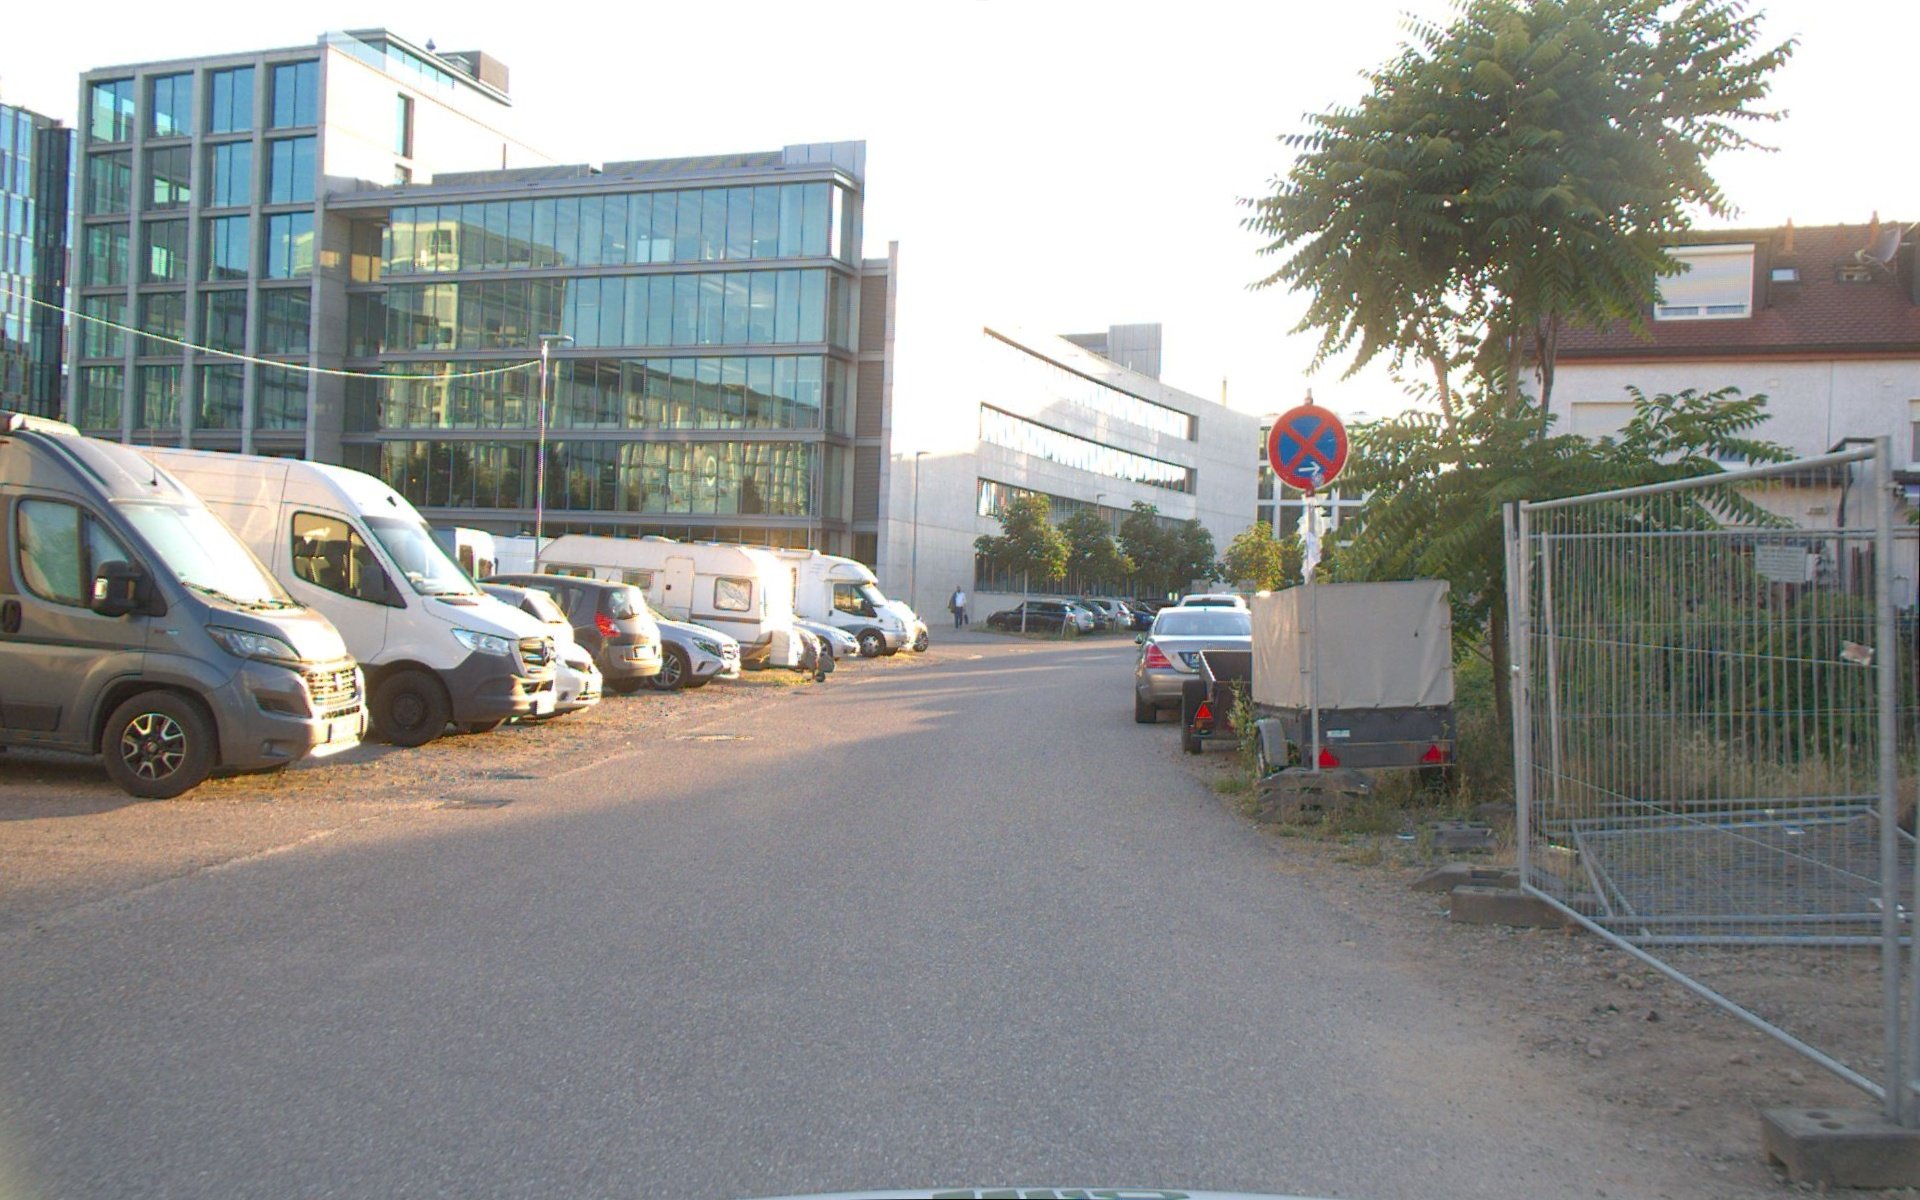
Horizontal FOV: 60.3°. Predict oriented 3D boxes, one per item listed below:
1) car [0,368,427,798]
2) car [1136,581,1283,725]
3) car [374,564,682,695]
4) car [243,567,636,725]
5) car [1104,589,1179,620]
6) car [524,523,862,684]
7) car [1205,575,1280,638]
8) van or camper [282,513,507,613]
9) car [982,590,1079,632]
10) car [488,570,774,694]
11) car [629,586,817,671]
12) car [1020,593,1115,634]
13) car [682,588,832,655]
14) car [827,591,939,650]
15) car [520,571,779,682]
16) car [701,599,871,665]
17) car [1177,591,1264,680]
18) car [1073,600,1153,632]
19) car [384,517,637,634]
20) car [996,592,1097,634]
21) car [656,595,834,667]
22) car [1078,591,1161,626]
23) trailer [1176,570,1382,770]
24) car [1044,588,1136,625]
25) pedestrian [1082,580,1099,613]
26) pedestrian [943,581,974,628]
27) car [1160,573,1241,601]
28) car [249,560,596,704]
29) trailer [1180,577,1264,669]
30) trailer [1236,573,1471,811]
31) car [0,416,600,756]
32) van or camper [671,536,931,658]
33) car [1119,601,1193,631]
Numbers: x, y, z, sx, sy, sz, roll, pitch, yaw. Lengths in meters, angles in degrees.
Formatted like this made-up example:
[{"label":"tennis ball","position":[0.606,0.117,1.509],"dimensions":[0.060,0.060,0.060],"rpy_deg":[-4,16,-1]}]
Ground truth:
[{"label":"car","position":[-7.496,-0.242,12.184],"dimensions":[6.261,2.760,2.112],"rpy_deg":[4,-1,-3]},{"label":"car","position":[3.300,0.642,22.622],"dimensions":[1.767,1.755,4.931],"rpy_deg":[0,0,6]},{"label":"car","position":[-6.166,0.396,23.773],"dimensions":[3.842,1.618,1.749],"rpy_deg":[3,0,13]},{"label":"car","position":[-5.880,0.500,18.966],"dimensions":[3.843,1.533,1.791],"rpy_deg":[3,0,5]},{"label":"car","position":[9.694,0.245,88.426],"dimensions":[3.627,1.483,1.711],"rpy_deg":[3,0,22]},{"label":"car","position":[-5.034,0.015,31.606],"dimensions":[5.763,2.577,2.414],"rpy_deg":[4,1,11]},{"label":"car","position":[10.234,0.218,59.704],"dimensions":[2.022,2.131,4.875],"rpy_deg":[1,0,17]},{"label":"van or camper","position":[-12.482,-0.801,36.573],"dimensions":[4.245,1.924,1.934],"rpy_deg":[3,0,13]},{"label":"car","position":[2.948,0.433,68.633],"dimensions":[3.656,1.507,1.771],"rpy_deg":[3,1,15]},{"label":"car","position":[-5.242,0.478,26.517],"dimensions":[4.039,1.618,1.749],"rpy_deg":[4,1,13]},{"label":"car","position":[-4.987,0.586,35.032],"dimensions":[3.552,1.545,1.707],"rpy_deg":[3,0,6]},{"label":"car","position":[4.775,0.586,73.356],"dimensions":[3.913,1.538,1.586],"rpy_deg":[3,2,15]},{"label":"car","position":[-5.257,0.534,42.998],"dimensions":[3.529,1.502,1.694],"rpy_deg":[3,0,4]},{"label":"car","position":[-2.214,0.619,48.811],"dimensions":[1.652,1.545,4.361],"rpy_deg":[3,0,20]},{"label":"car","position":[-5.431,0.453,29.197],"dimensions":[4.039,1.618,1.749],"rpy_deg":[4,0,7]},{"label":"car","position":[-4.193,0.759,40.088],"dimensions":[3.727,1.351,1.694],"rpy_deg":[3,0,8]},{"label":"car","position":[5.999,0.757,37.756],"dimensions":[1.733,1.863,4.412],"rpy_deg":[1,0,12]},{"label":"car","position":[7.448,0.765,80.414],"dimensions":[3.556,1.385,1.687],"rpy_deg":[3,1,16]},{"label":"car","position":[-11.969,-0.655,44.112],"dimensions":[6.110,2.719,2.225],"rpy_deg":[3,0,15]},{"label":"car","position":[3.767,0.560,71.457],"dimensions":[4.000,1.555,1.847],"rpy_deg":[3,1,15]},{"label":"car","position":[-4.860,0.683,37.684],"dimensions":[3.647,1.391,1.707],"rpy_deg":[3,0,6]},{"label":"car","position":[8.094,0.423,83.697],"dimensions":[3.791,1.537,1.760],"rpy_deg":[3,1,21]},{"label":"trailer","position":[3.216,0.629,17.493],"dimensions":[1.694,1.808,4.940],"rpy_deg":[0,0,6]},{"label":"car","position":[6.151,0.302,78.231],"dimensions":[3.906,1.537,1.760],"rpy_deg":[3,1,21]},{"label":"pedestrian","position":[7.184,-0.184,90.937],"dimensions":[0.632,1.815,0.725],"rpy_deg":[3,0,21]},{"label":"pedestrian","position":[-0.061,0.189,66.749],"dimensions":[0.893,1.882,0.845],"rpy_deg":[1,1,-38]},{"label":"car","position":[14.114,-0.738,97.204],"dimensions":[4.348,1.489,1.761],"rpy_deg":[2,1,27]},{"label":"car","position":[-6.938,0.412,21.598],"dimensions":[3.843,1.618,1.749],"rpy_deg":[3,-1,4]},{"label":"trailer","position":[7.005,0.560,44.006],"dimensions":[2.020,2.250,5.227],"rpy_deg":[1,0,10]},{"label":"trailer","position":[3.042,0.656,13.201],"dimensions":[1.225,1.694,2.803],"rpy_deg":[0,0,0]},{"label":"car","position":[-6.711,-0.169,16.240],"dimensions":[5.705,2.760,2.051],"rpy_deg":[4,0,2]},{"label":"van or camper","position":[-4.315,-0.102,45.422],"dimensions":[6.597,2.948,2.411],"rpy_deg":[3,0,10]},{"label":"car","position":[10.743,0.867,90.721],"dimensions":[3.628,1.483,1.678],"rpy_deg":[3,0,23]}]
